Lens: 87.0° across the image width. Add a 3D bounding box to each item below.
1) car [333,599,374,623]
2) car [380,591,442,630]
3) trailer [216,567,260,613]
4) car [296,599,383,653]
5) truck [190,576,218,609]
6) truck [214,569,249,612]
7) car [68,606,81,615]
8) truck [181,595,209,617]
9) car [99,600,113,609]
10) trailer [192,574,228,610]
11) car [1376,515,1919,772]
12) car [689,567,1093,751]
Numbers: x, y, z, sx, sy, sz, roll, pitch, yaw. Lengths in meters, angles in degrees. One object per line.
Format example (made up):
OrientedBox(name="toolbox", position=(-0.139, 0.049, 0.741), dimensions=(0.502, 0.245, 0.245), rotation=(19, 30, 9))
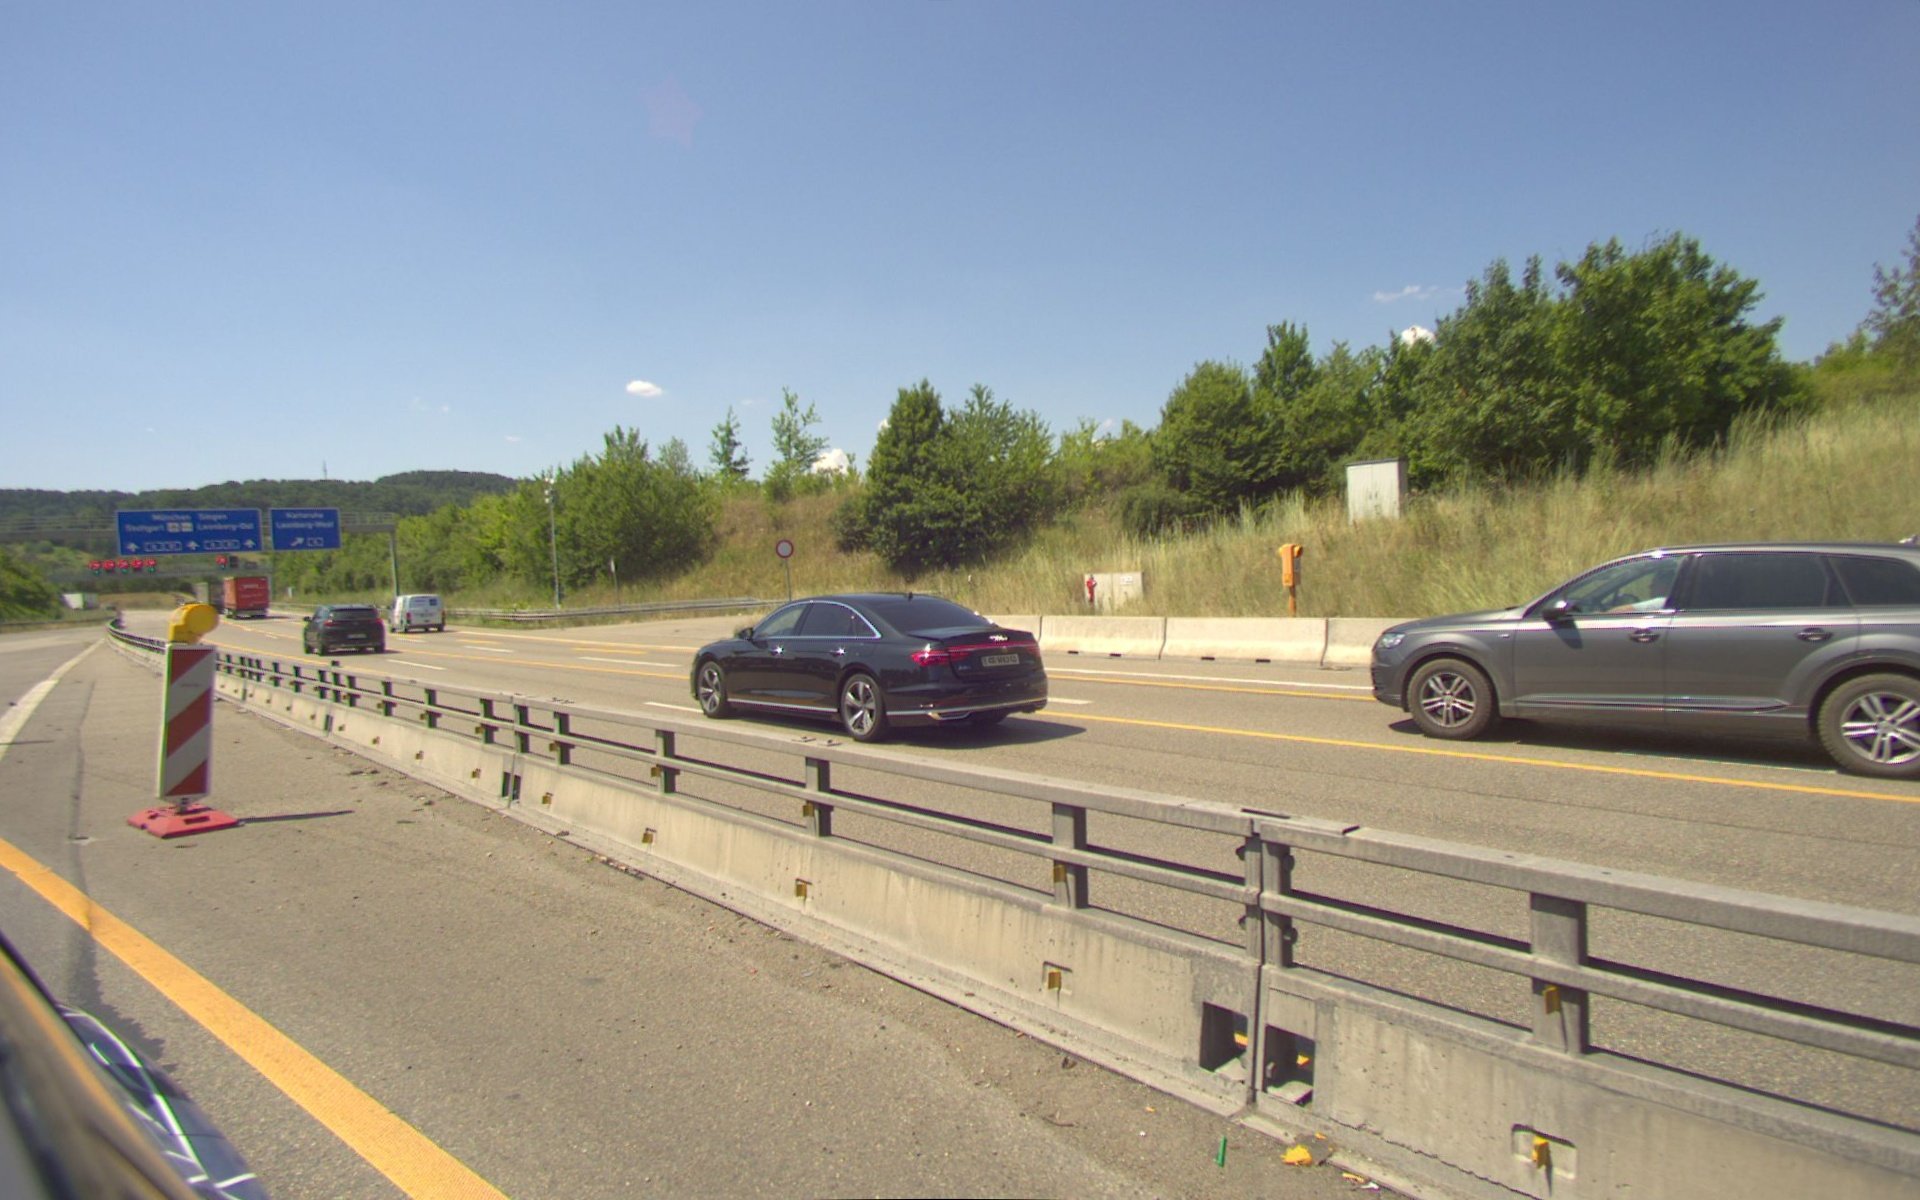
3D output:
OrientedBox(name="car", position=(-38.949, 0.675, 64.955), dimensions=(1.666, 1.405, 4.007), rotation=(-1, 1, -39))
OrientedBox(name="car", position=(-28.170, 0.504, 51.883), dimensions=(1.667, 1.848, 4.793), rotation=(-1, 1, -42))
OrientedBox(name="trailer", position=(-69.255, -0.934, 96.948), dimensions=(2.309, 4.132, 13.284), rotation=(-4, 3, -40))
OrientedBox(name="car", position=(-20.345, 0.825, 33.098), dimensions=(1.721, 1.605, 4.234), rotation=(-2, 1, -41))
OrientedBox(name="truck", position=(-102.012, -0.962, 136.455), dimensions=(2.402, 4.301, 4.845), rotation=(-4, 3, -42))
OrientedBox(name="truck", position=(-73.628, -0.960, 102.254), dimensions=(2.305, 4.138, 5.026), rotation=(-4, 3, -40))
OrientedBox(name="car", position=(-169.904, 2.004, 194.100), dimensions=(1.696, 1.635, 4.175), rotation=(-5, 3, -43))
OrientedBox(name="truck", position=(-73.205, 0.585, 96.807), dimensions=(1.968, 1.887, 4.770), rotation=(-4, 2, -39))
OrientedBox(name="car", position=(-150.633, 0.831, 178.518), dimensions=(1.696, 1.502, 3.691), rotation=(-5, 3, -44))
OrientedBox(name="trailer", position=(-97.217, -0.976, 131.023), dimensions=(2.406, 4.328, 13.829), rotation=(-4, 3, -41))
OrientedBox(name="car", position=(6.248, 0.300, 8.397), dimensions=(1.752, 1.740, 4.873), rotation=(-1, 0, -42))
OrientedBox(name="car", position=(-1.023, 0.540, 11.290), dimensions=(1.752, 1.605, 4.991), rotation=(-1, 0, -42))
